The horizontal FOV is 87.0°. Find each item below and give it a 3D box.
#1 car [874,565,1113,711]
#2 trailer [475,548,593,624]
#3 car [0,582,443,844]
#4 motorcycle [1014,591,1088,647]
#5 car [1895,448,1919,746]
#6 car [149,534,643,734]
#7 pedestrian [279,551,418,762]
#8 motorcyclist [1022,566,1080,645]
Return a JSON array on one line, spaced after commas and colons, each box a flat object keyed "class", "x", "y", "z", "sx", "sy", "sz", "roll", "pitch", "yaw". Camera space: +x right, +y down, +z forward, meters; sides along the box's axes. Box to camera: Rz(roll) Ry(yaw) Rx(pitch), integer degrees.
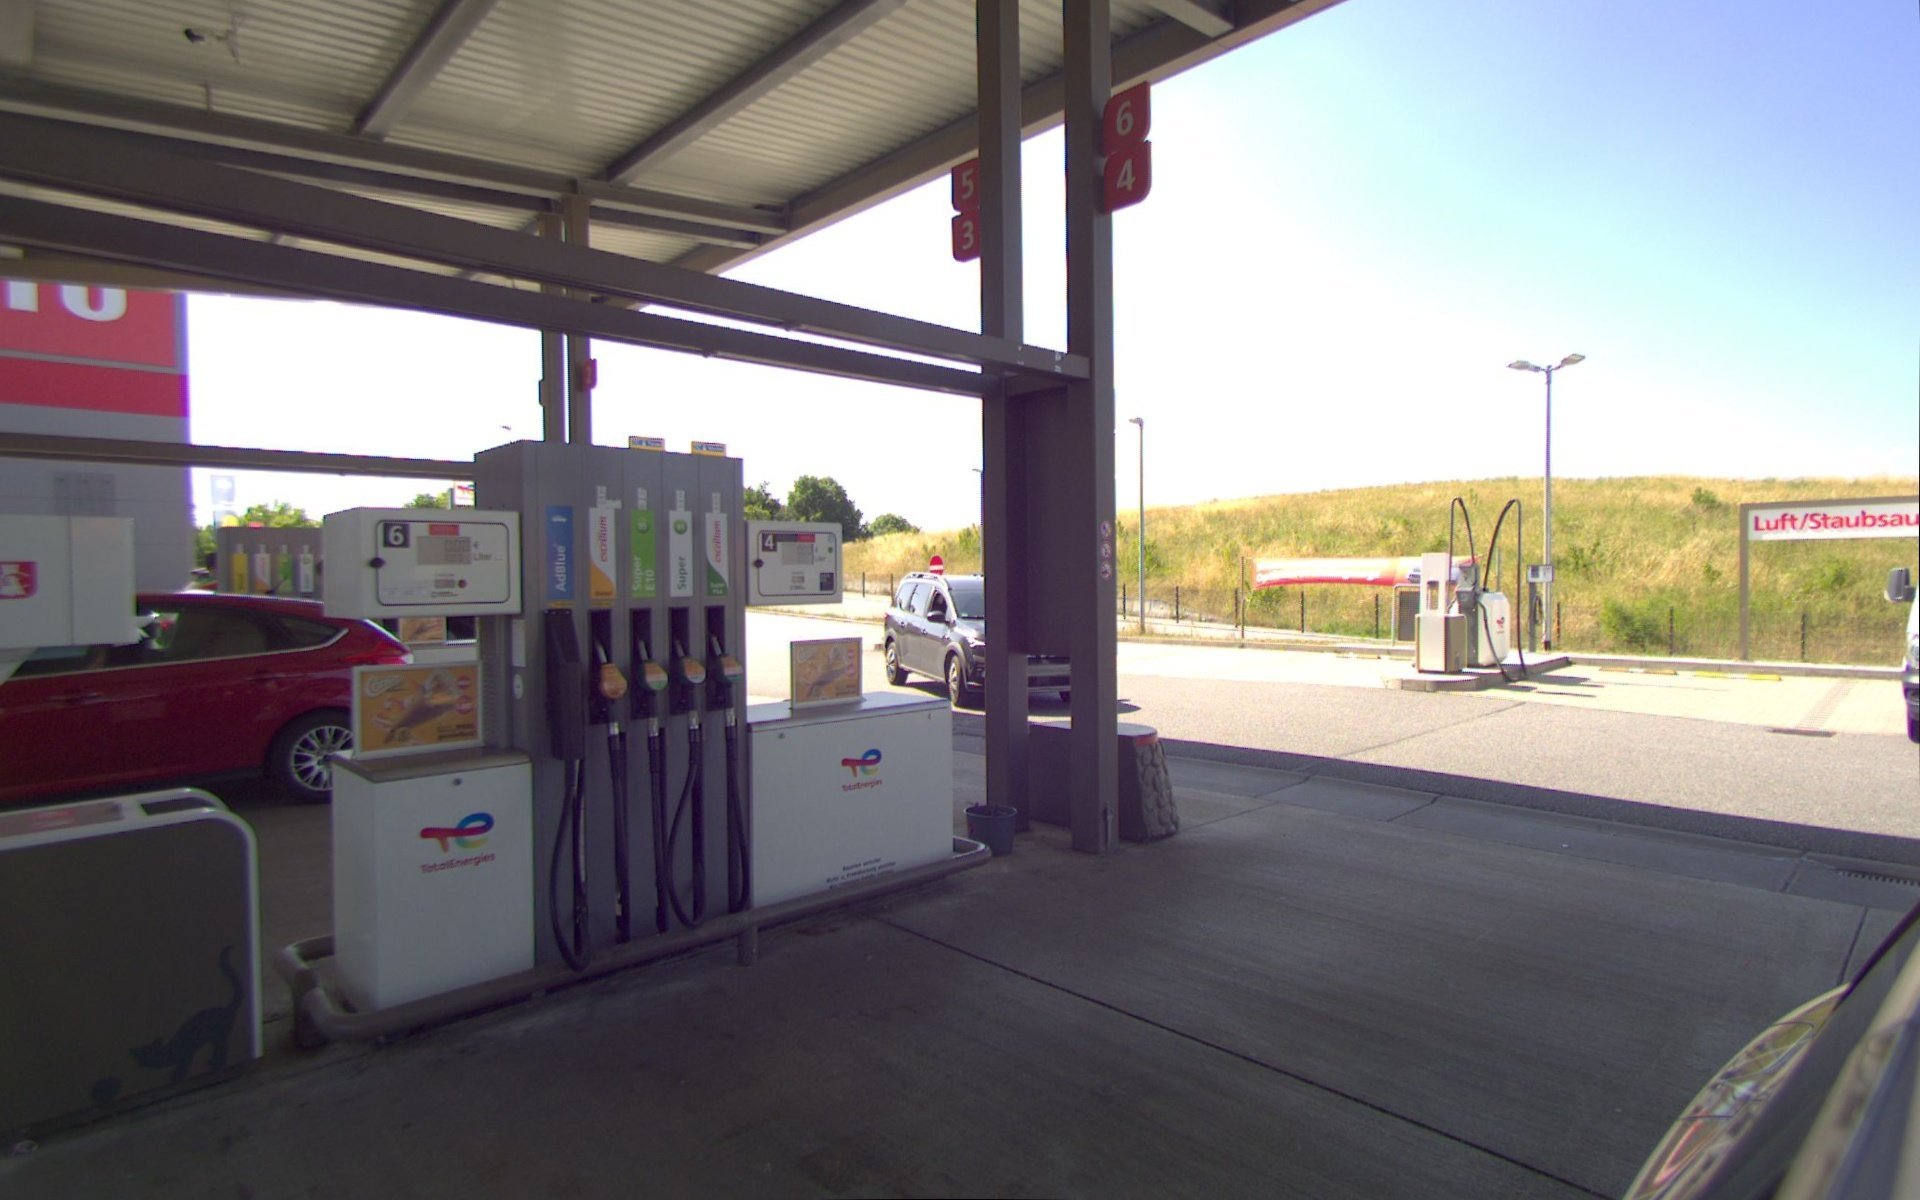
[{"class": "car", "x": 0.244, "y": 0.386, "z": 14.051, "sx": 1.707, "sy": 1.665, "sz": 4.642, "roll": 0, "pitch": 1, "yaw": -20}, {"class": "trailer", "x": -14.486, "y": -0.494, "z": 34.684, "sx": 1.967, "sy": 2.457, "sz": 3.991, "roll": 0, "pitch": 1, "yaw": 8}, {"class": "car", "x": -5.857, "y": 0.633, "z": 6.558, "sx": 4.163, "sy": 1.487, "sz": 1.700, "roll": -1, "pitch": 1, "yaw": -44}, {"class": "motorcycle", "x": 2.063, "y": 0.388, "z": 22.580, "sx": 1.033, "sy": 1.119, "sz": 2.399, "roll": 0, "pitch": 2, "yaw": 21}, {"class": "car", "x": 11.600, "y": -0.189, "z": 10.277, "sx": 6.905, "sy": 2.602, "sz": 1.999, "roll": -4, "pitch": 3, "yaw": -38}, {"class": "car", "x": -6.398, "y": 0.300, "z": 11.874, "sx": 4.718, "sy": 1.874, "sz": 2.029, "roll": 0, "pitch": 1, "yaw": -44}, {"class": "pedestrian", "x": -5.341, "y": 0.452, "z": 8.840, "sx": 0.912, "sy": 1.724, "sz": 0.702, "roll": -1, "pitch": 1, "yaw": -43}, {"class": "motorcyclist", "x": 2.029, "y": 0.096, "z": 22.494, "sx": 1.022, "sy": 1.709, "sz": 1.091, "roll": 0, "pitch": 1, "yaw": 22}]
